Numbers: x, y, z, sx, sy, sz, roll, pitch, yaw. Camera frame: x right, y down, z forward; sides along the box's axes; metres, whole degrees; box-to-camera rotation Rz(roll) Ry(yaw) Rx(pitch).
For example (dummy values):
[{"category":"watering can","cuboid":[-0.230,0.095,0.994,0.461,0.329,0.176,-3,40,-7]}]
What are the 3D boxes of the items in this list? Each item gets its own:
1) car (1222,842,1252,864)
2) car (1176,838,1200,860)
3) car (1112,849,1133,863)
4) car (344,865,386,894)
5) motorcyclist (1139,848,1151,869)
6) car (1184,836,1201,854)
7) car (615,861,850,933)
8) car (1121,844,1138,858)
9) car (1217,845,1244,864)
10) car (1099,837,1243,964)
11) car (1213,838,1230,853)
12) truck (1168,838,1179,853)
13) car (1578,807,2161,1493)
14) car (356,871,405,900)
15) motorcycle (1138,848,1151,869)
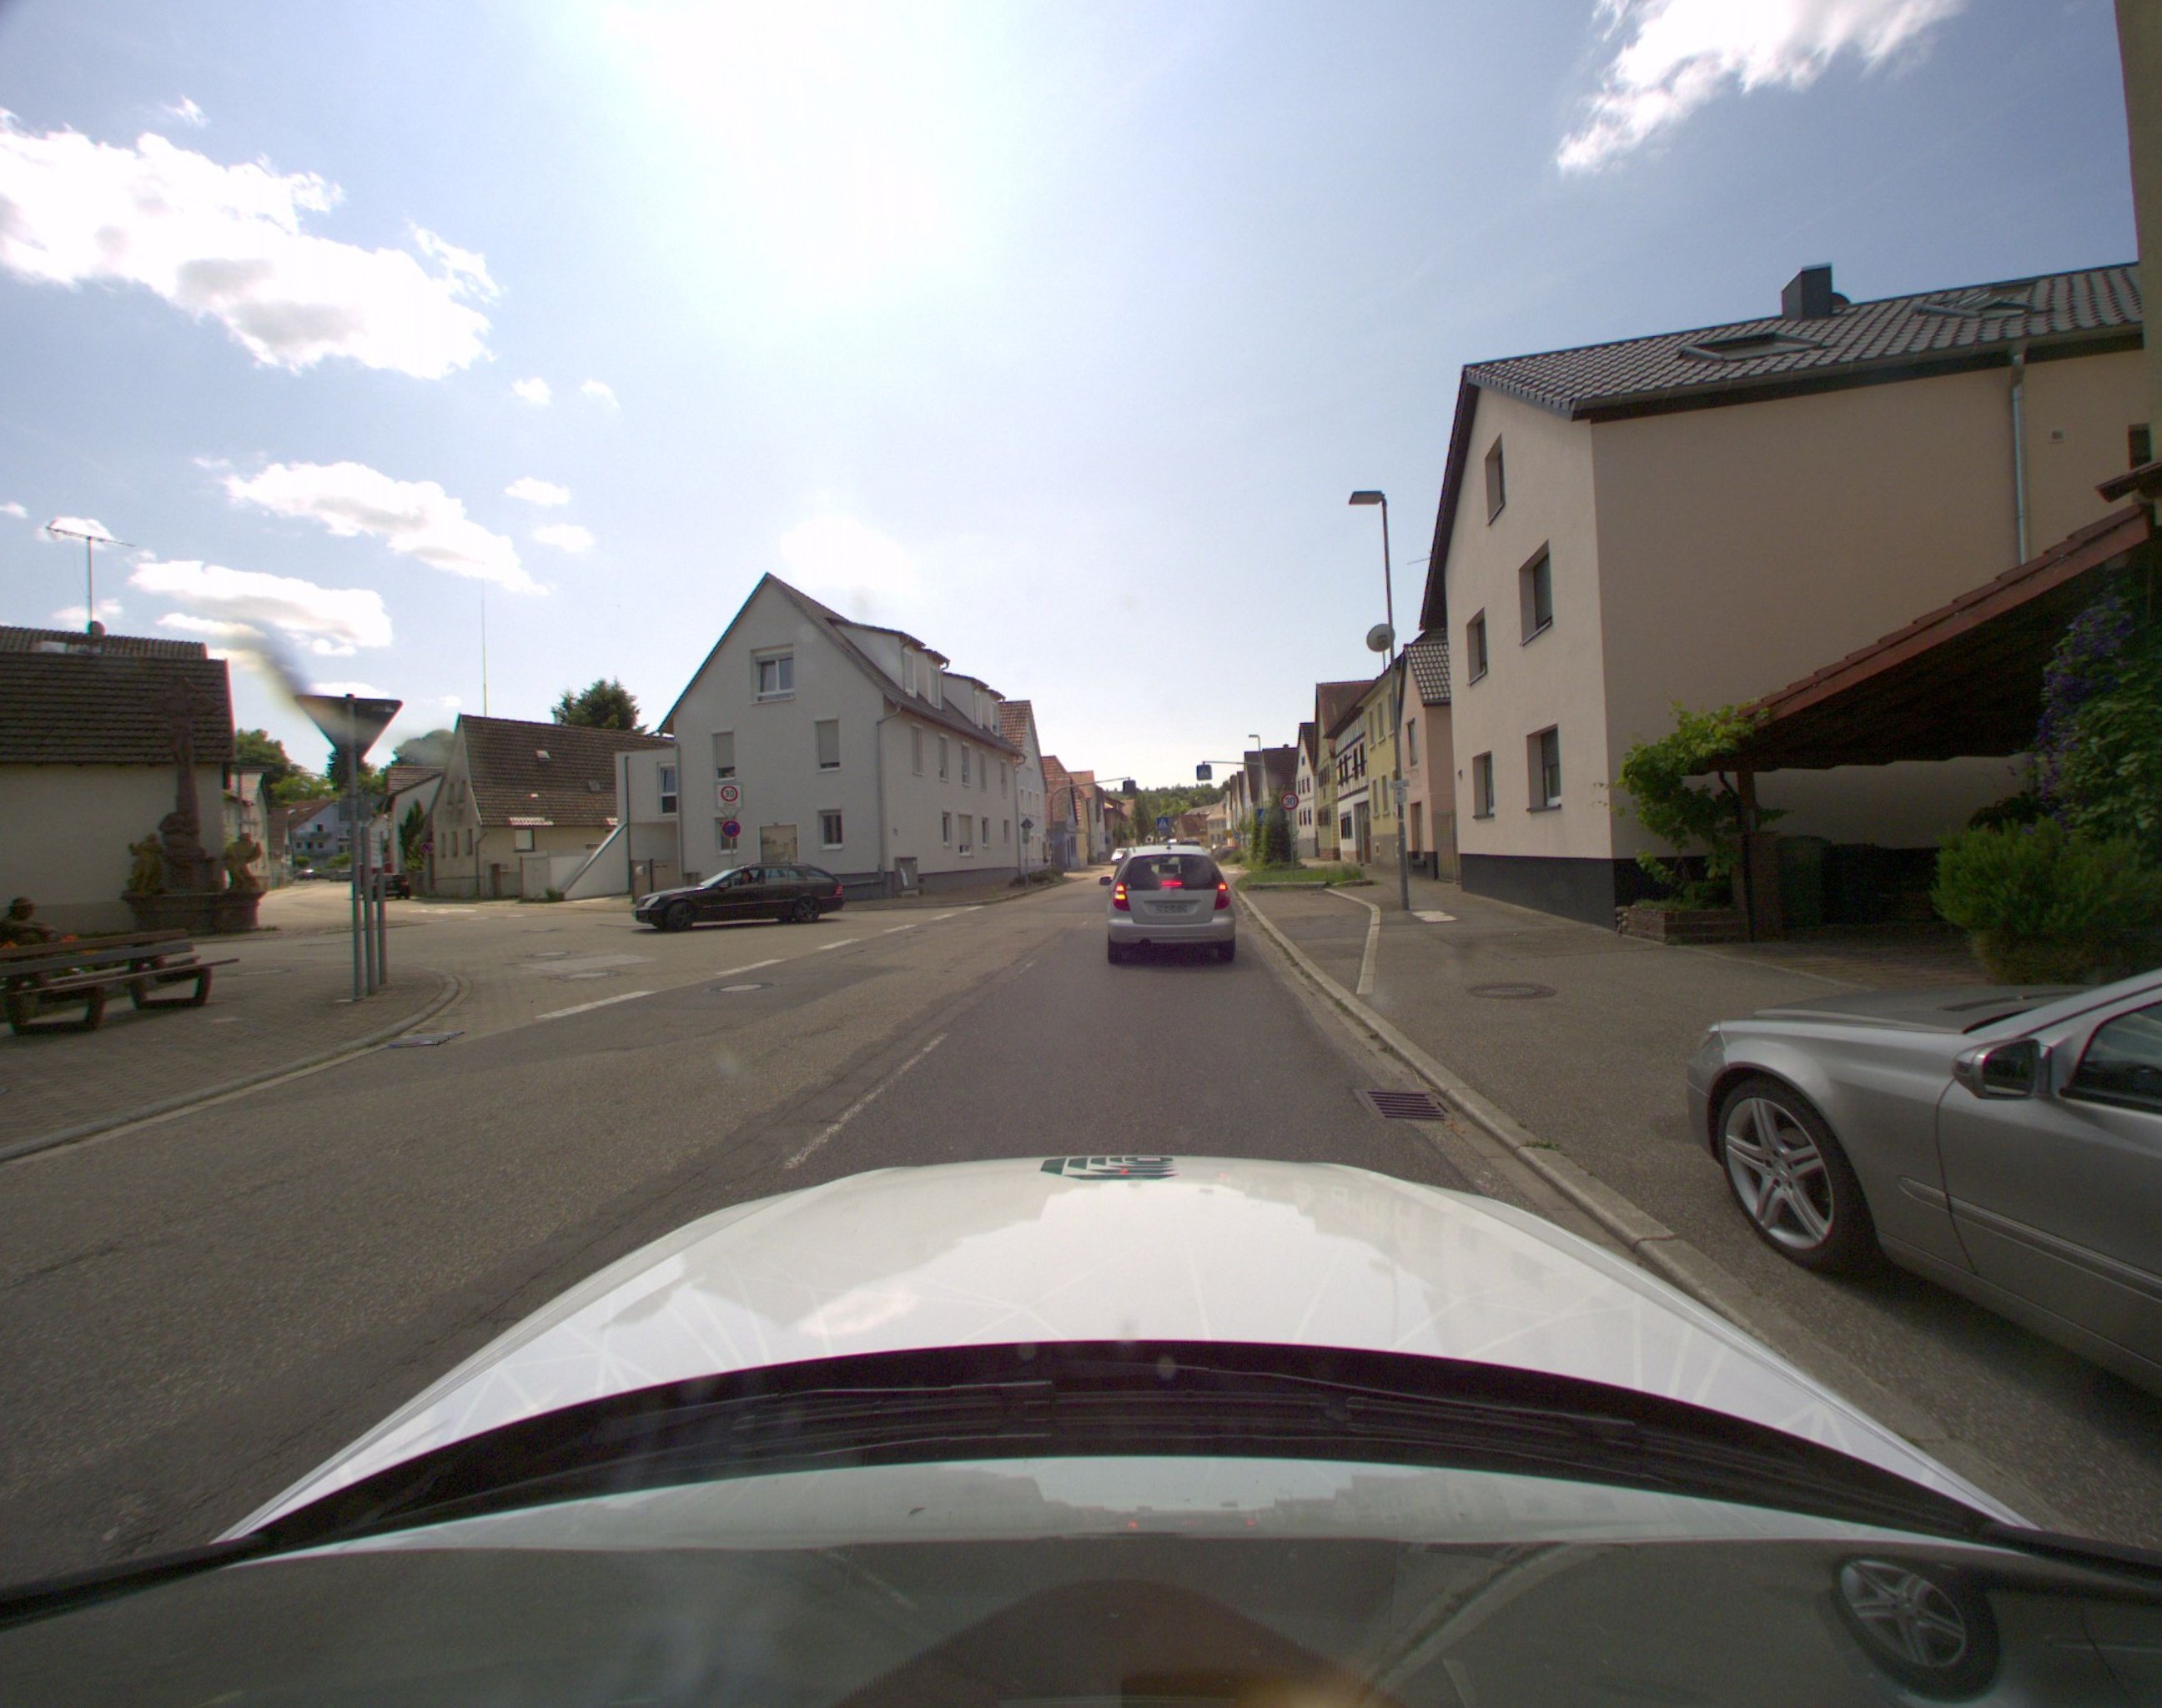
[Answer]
[{"category":"car","cuboid":[11.702,-0.051,61.247,1.983,1.508,4.008,-2,-2,7]},{"category":"car","cuboid":[9.506,-0.390,72.552,1.983,1.816,4.006,-2,-2,6]},{"category":"car","cuboid":[4.041,0.217,79.561,1.986,1.321,3.710,-1,-2,2]},{"category":"car","cuboid":[-42.385,1.525,48.177,3.431,1.635,1.406,-3,-2,40]},{"category":"motorcyclist","cuboid":[5.008,0.355,63.671,0.891,1.554,0.808,-2,0,7]},{"category":"car","cuboid":[14.023,-1.087,102.617,1.983,2.014,4.007,-2,-2,7]},{"category":"car","cuboid":[-7.851,0.902,18.559,4.656,1.412,1.794,0,-2,-36]},{"category":"car","cuboid":[5.875,-0.336,98.124,1.658,1.596,4.008,-2,-2,7]},{"category":"car","cuboid":[12.442,0.063,67.933,1.983,1.508,4.008,-2,-2,7]},{"category":"car","cuboid":[1.201,0.607,12.412,1.804,1.643,3.729,0,0,0]},{"category":"car","cuboid":[19.203,-1.189,111.105,1.983,1.816,4.006,-2,-2,6]},{"category":"truck","cuboid":[18.151,-1.665,159.219,1.983,2.537,6.751,-2,-2,6]},{"category":"car","cuboid":[3.079,0.569,1.553,1.762,1.400,4.430,-5,-1,5]},{"category":"car","cuboid":[-38.217,1.725,44.409,3.431,1.530,1.500,-3,-2,40]},{"category":"motorcycle","cuboid":[5.006,0.368,63.706,0.875,1.561,1.971,-2,0,7]}]
